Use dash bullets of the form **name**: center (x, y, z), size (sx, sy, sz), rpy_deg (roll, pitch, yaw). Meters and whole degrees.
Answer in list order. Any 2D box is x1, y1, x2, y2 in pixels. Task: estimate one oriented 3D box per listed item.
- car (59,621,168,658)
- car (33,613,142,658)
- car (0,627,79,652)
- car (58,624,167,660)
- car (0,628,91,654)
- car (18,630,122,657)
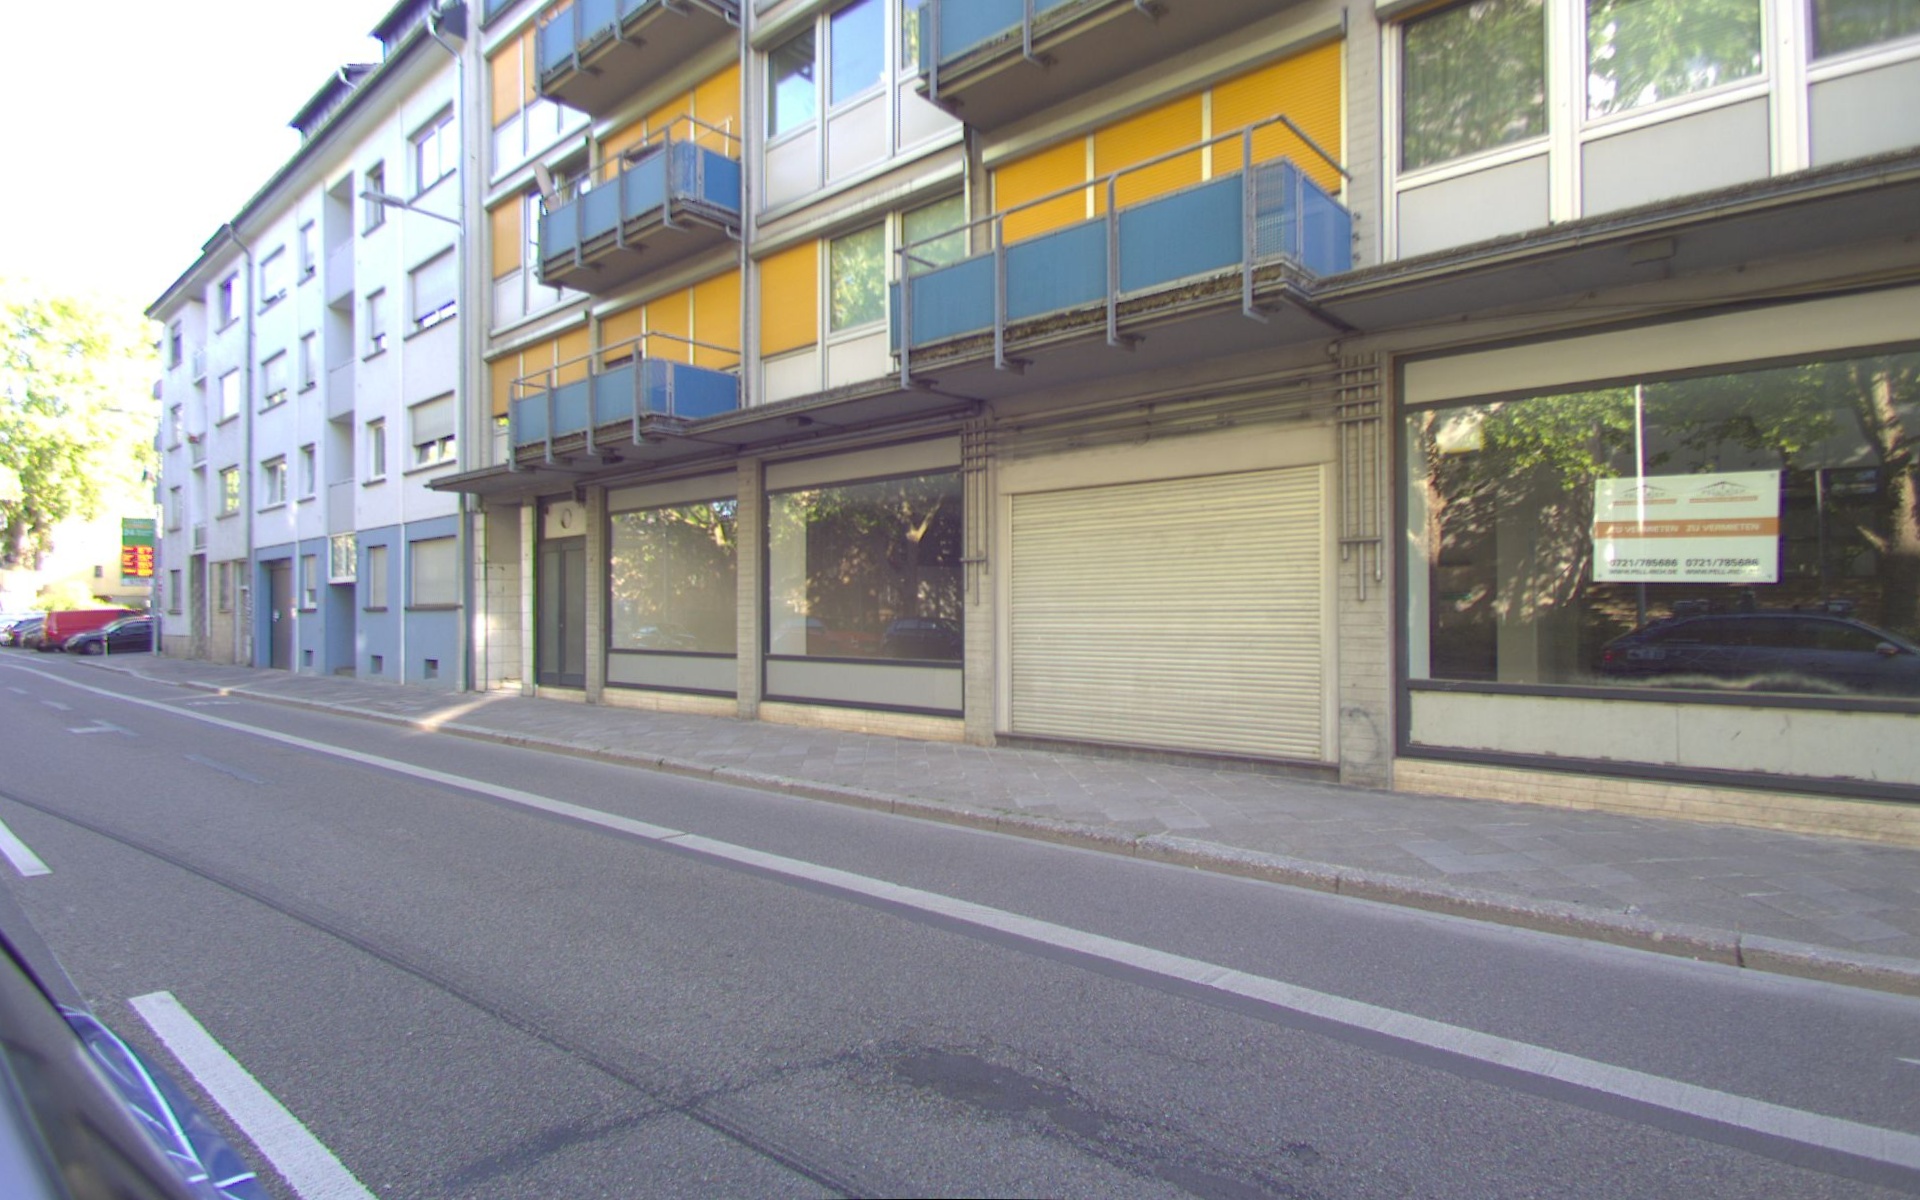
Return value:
- **car**: center (-38.198, 1.760, 45.726), size (1.490, 1.523, 3.638), rpy_deg (-1, 0, 43)
- **car**: center (-40.657, 1.640, 47.226), size (1.488, 1.923, 3.642), rpy_deg (-4, -2, 39)
- **car**: center (-52.265, 2.239, 57.507), size (1.345, 1.254, 3.228), rpy_deg (-1, 0, 43)
- **car**: center (-36.681, 1.803, 43.846), size (1.490, 1.398, 3.462), rpy_deg (-1, 0, 43)
- **car**: center (-50.451, 2.232, 55.878), size (1.345, 1.254, 3.638), rpy_deg (-1, 0, 43)
- **car**: center (-42.819, 2.065, 48.740), size (1.345, 1.137, 3.638), rpy_deg (-1, 0, 43)
